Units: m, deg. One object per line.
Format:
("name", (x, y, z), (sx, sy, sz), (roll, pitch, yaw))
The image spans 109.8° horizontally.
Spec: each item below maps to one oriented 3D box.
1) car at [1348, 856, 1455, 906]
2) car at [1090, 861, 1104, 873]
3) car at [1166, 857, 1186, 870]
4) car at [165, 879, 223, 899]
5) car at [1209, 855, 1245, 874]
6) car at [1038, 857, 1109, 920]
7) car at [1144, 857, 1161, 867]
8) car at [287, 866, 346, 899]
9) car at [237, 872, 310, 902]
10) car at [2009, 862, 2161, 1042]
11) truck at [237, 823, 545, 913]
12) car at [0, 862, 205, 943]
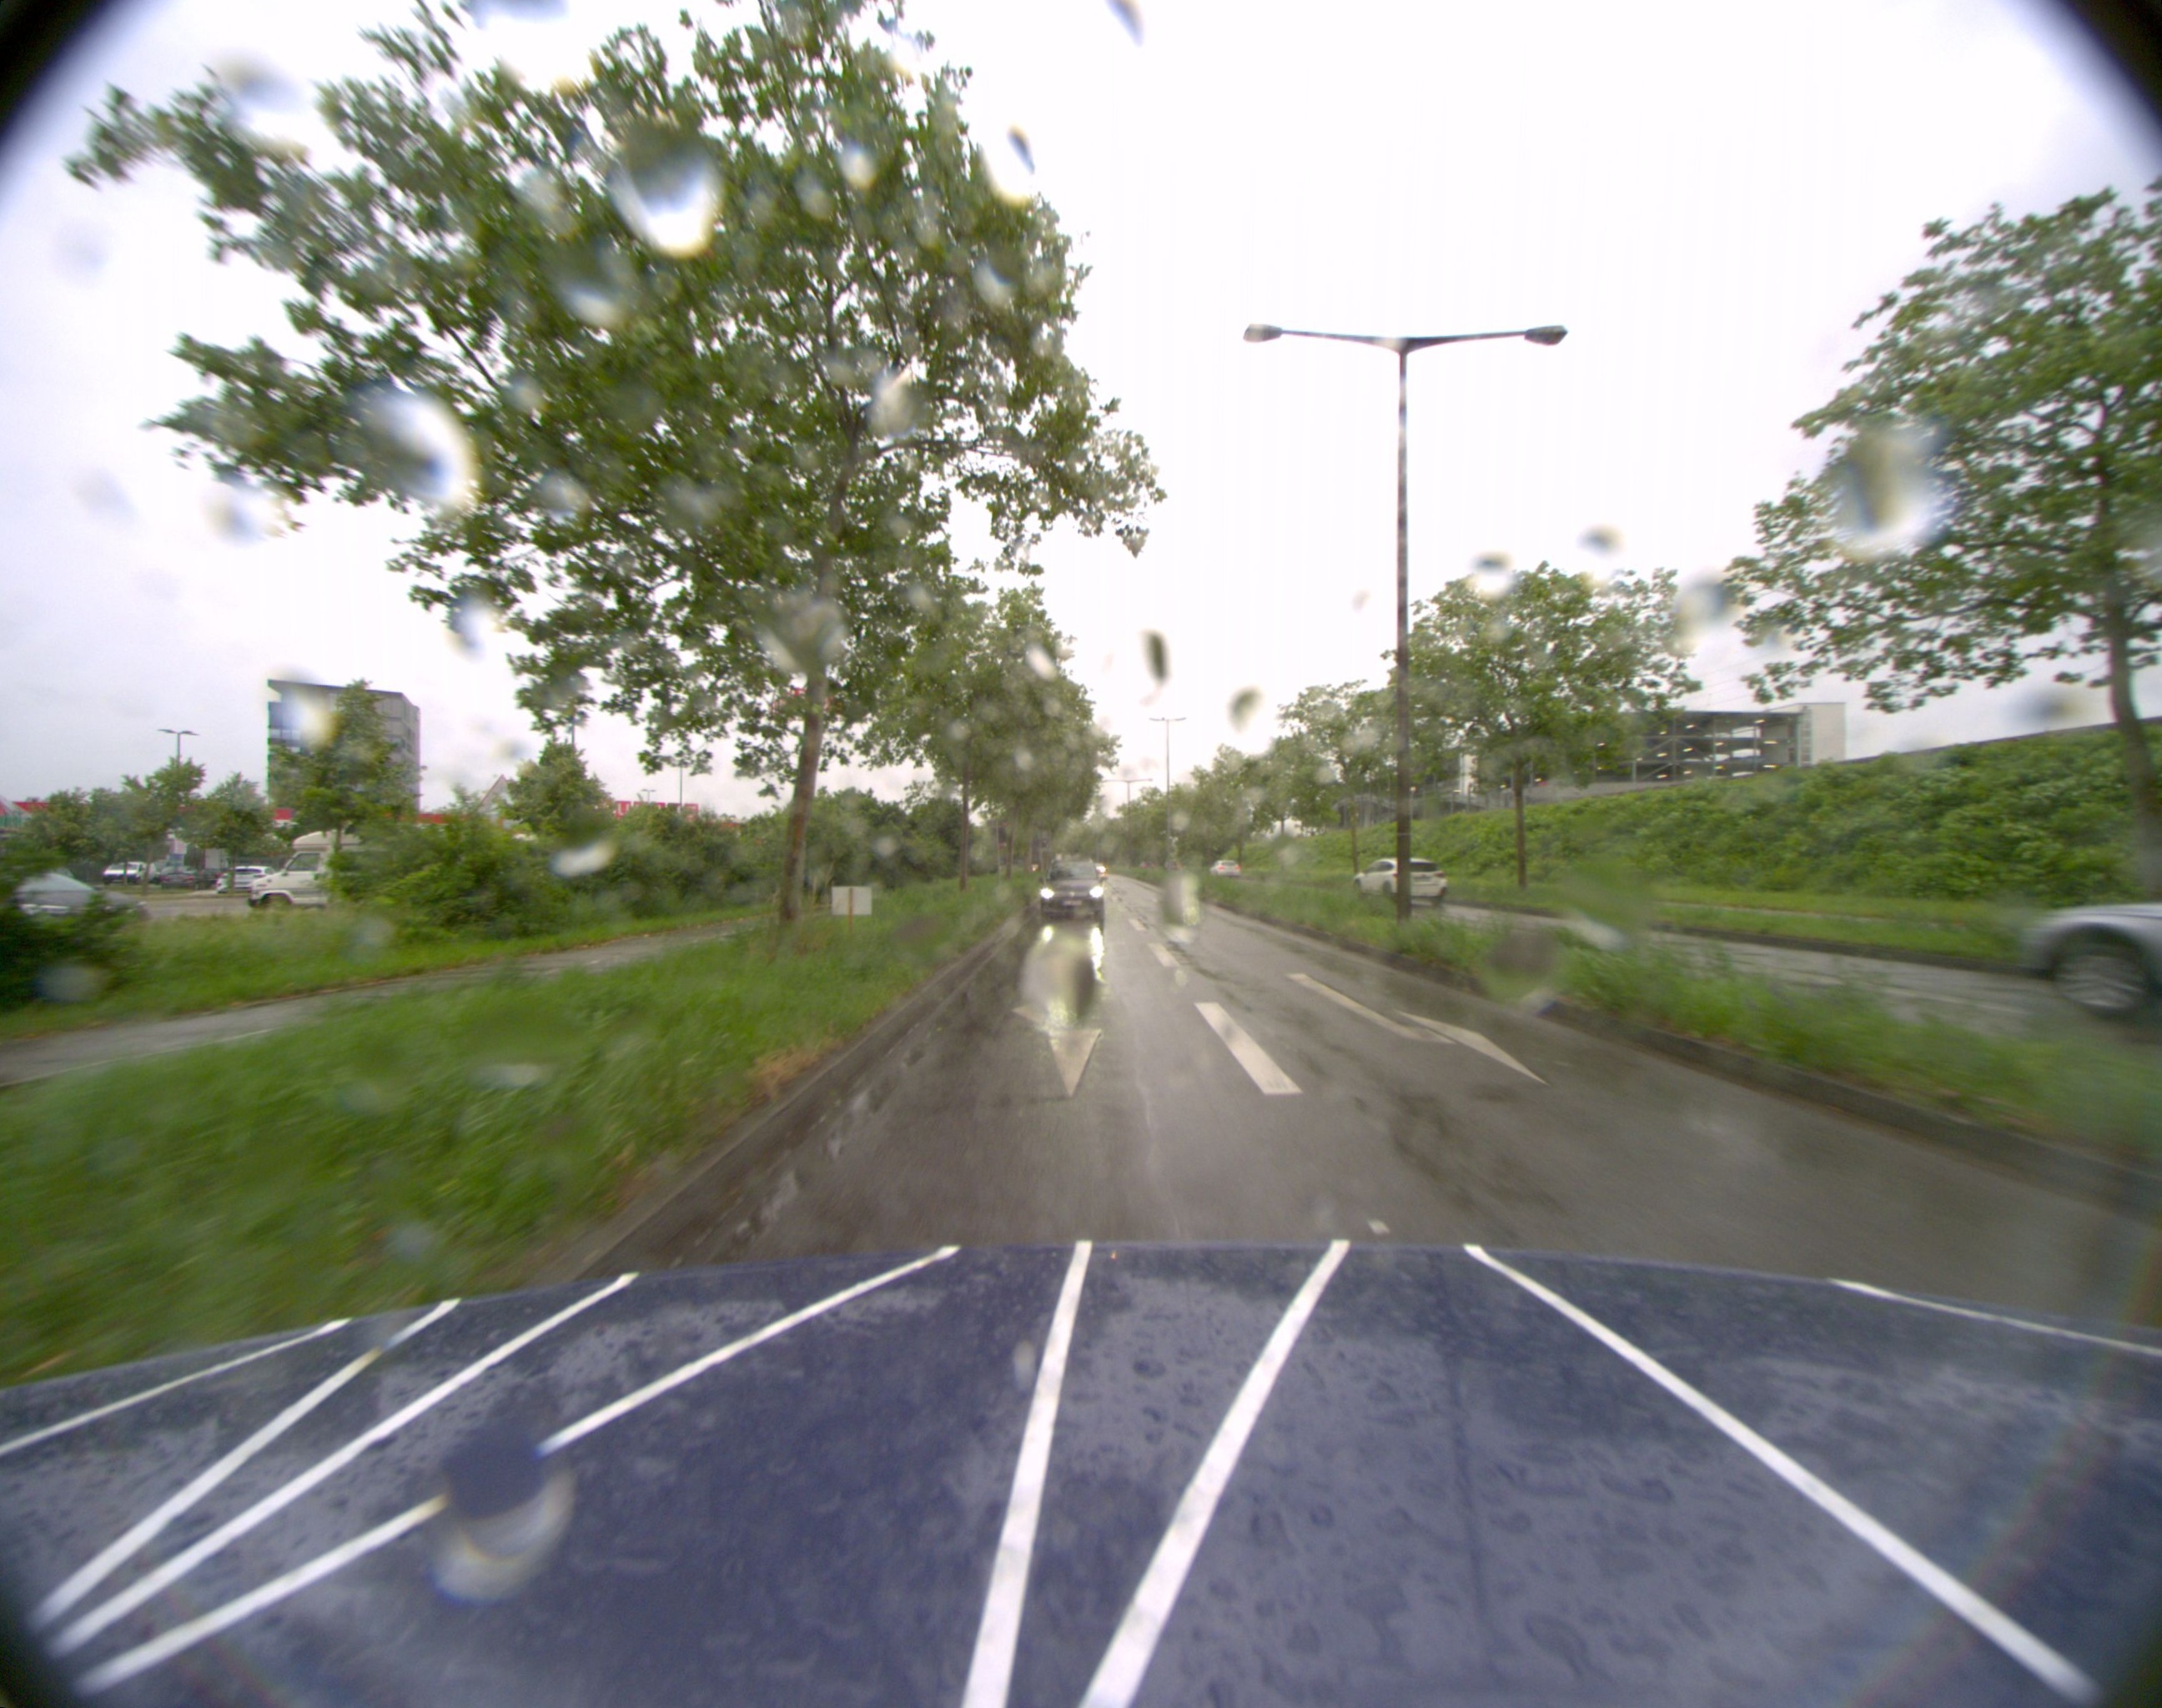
("car", (10.971, 0.869, 26.417), (1.861, 1.579, 4.518), (0, 0, 1))
("car", (2.001, 1.670, 97.115), (1.729, 1.470, 4.000), (-3, 0, 1))
("car", (11.254, 1.120, 89.907), (1.936, 1.436, 3.707), (-1, 0, 0))
("car", (-67.389, 2.653, 57.796), (1.864, 1.348, 3.866), (-1, 0, -33))
("car", (11.407, 0.787, 59.701), (1.936, 1.436, 4.657), (-1, 0, 0))
("car", (-0.114, 0.952, 22.992), (1.788, 1.605, 4.718), (-2, 0, 3))
("car", (9.897, 1.090, 105.789), (1.936, 1.436, 4.496), (-1, 0, 0))
("car", (-48.852, 1.773, 48.635), (1.902, 2.002, 4.064), (-2, 0, -34))
("car", (-43.339, 1.733, 40.874), (1.788, 1.470, 4.064), (-1, 0, -34))
("car", (10.494, 0.883, 5.564), (1.861, 1.579, 4.518), (1, 0, 0))
("truck", (-19.943, 0.355, 22.294), (6.552, 2.291, 2.219), (-2, 1, -6))
("car", (-19.838, 0.908, 14.383), (3.998, 1.357, 1.999), (-2, 1, -3))
